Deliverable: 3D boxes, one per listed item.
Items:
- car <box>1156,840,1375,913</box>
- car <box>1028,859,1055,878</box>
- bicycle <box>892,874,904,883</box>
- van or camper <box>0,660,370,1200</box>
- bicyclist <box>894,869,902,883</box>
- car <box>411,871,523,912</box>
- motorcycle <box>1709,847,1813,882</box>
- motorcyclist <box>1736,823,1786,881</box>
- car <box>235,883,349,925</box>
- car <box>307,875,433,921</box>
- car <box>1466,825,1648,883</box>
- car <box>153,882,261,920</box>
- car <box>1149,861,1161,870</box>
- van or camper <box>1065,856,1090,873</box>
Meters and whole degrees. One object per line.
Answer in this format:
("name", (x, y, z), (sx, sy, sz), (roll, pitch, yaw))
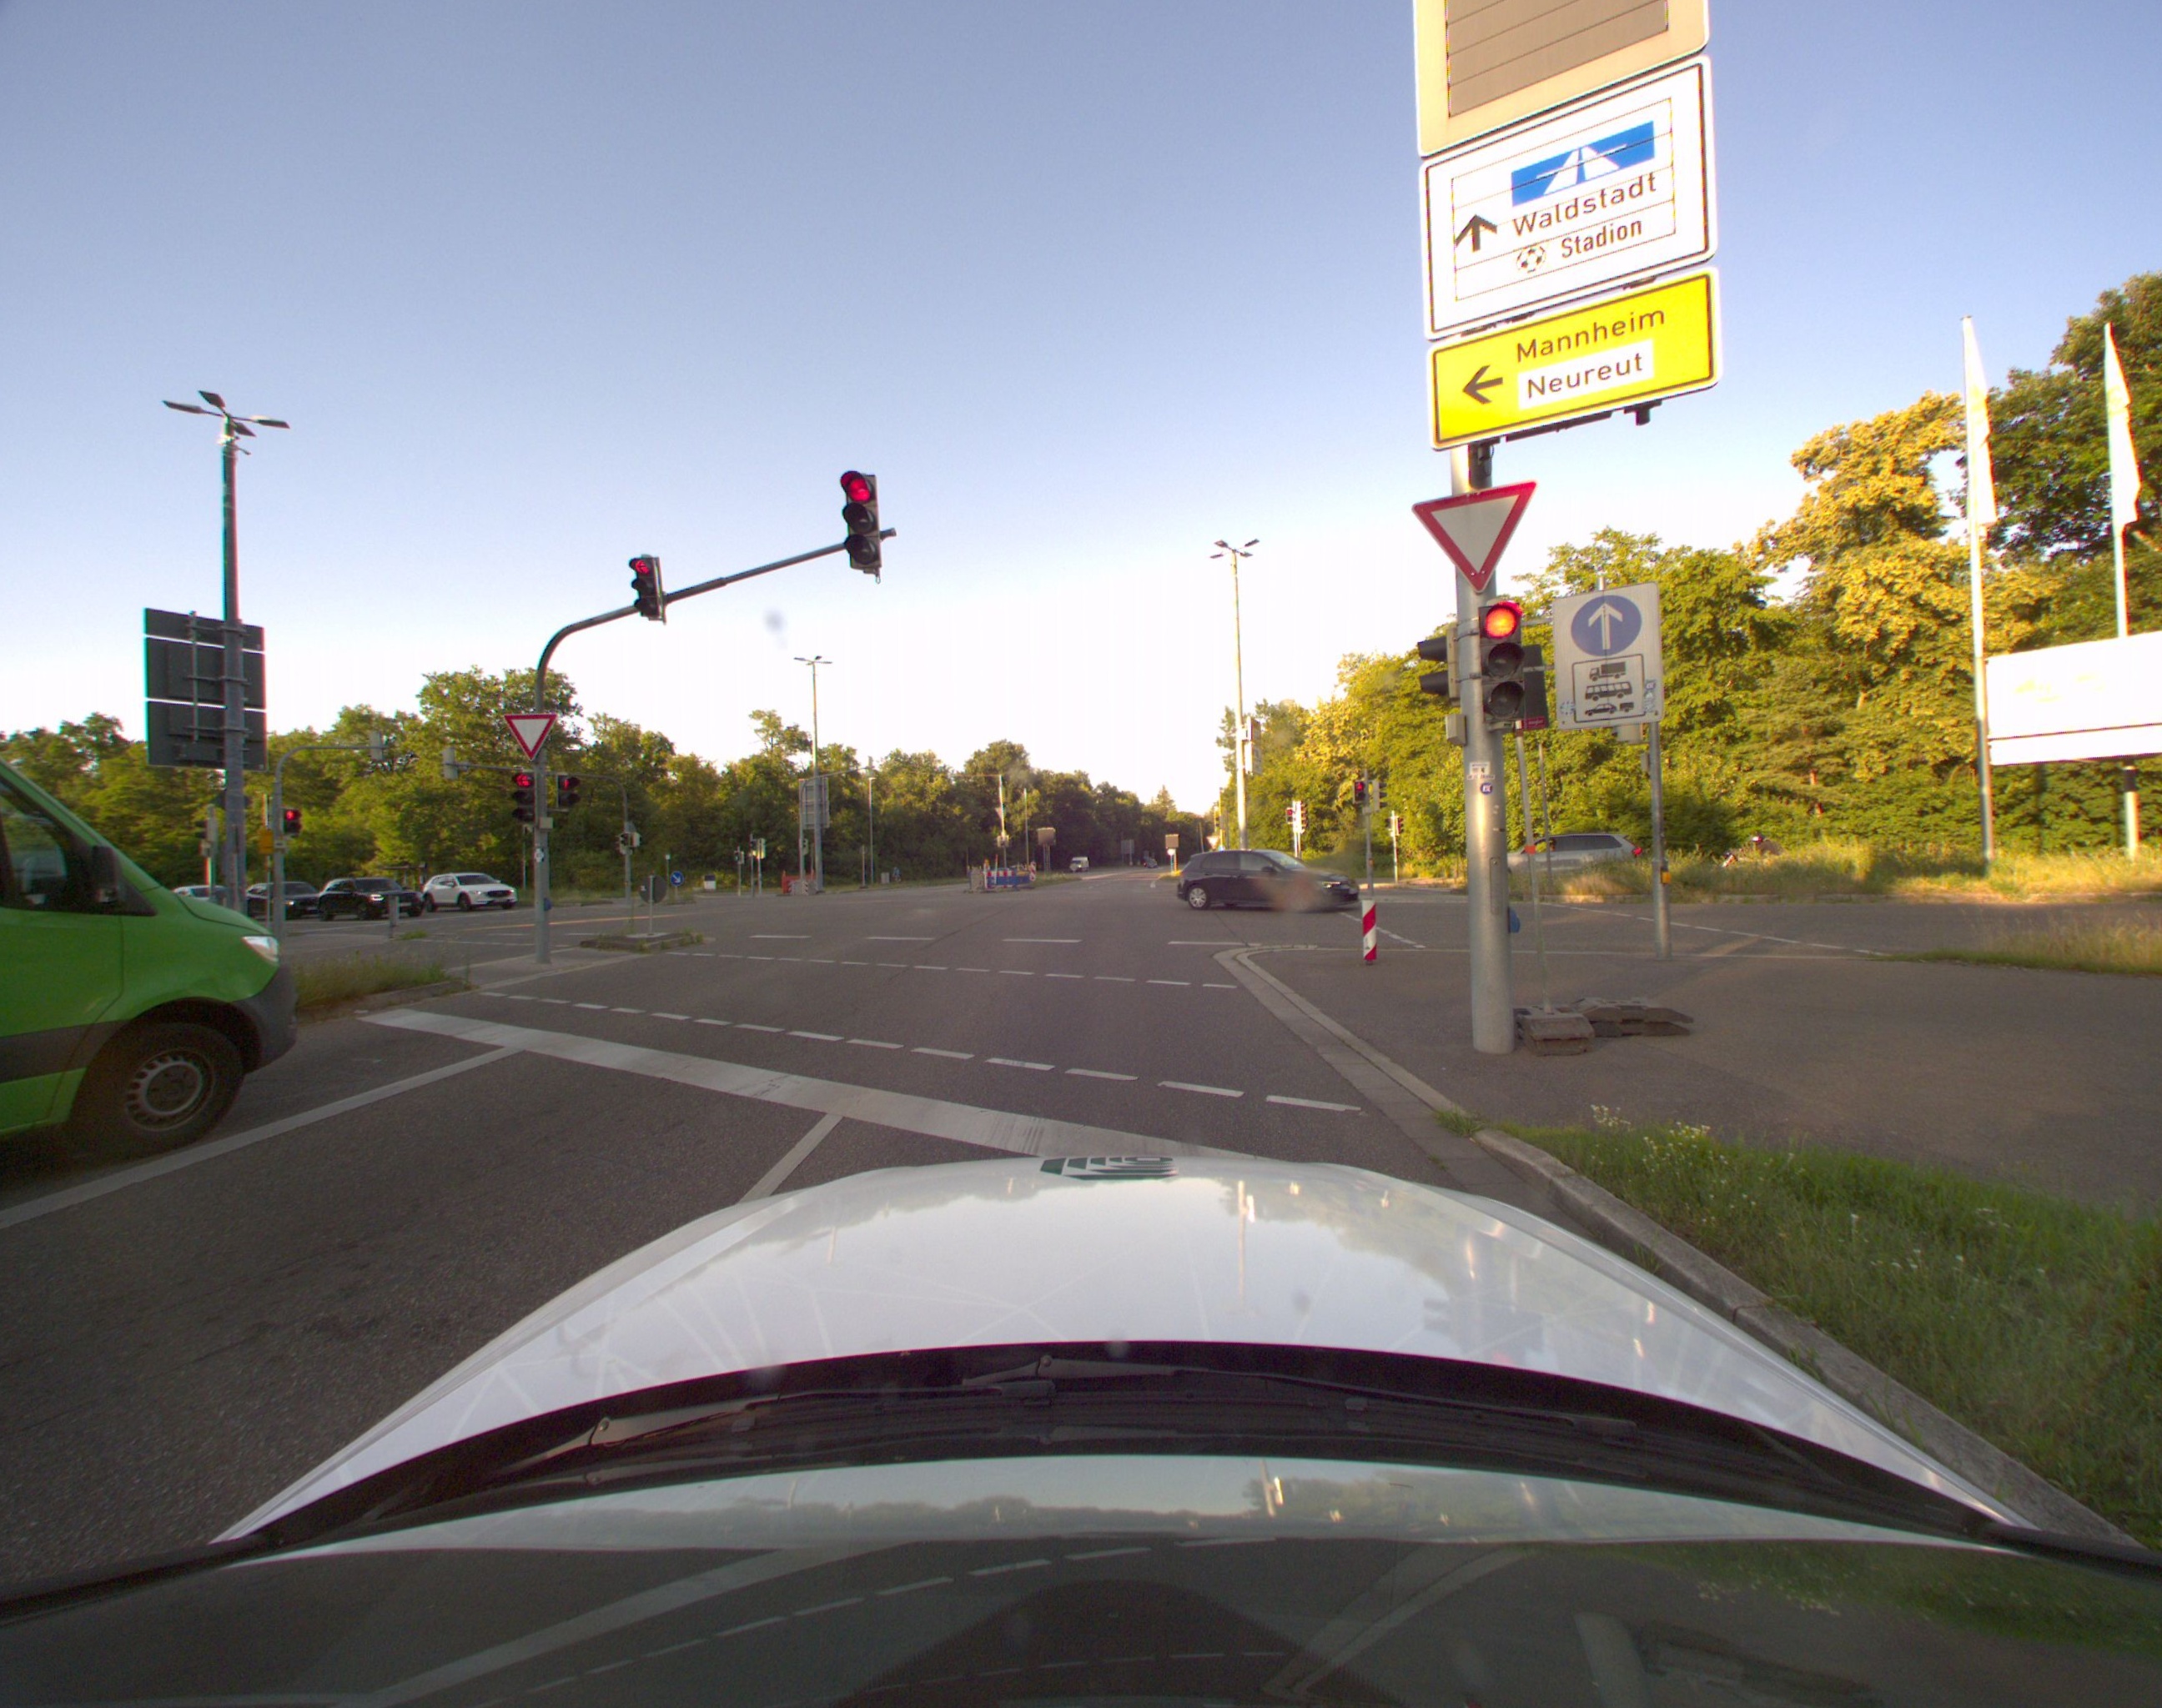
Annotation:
("car", (4.282, 0.522, 19.304), (4.618, 1.530, 2.013), (-2, 0, 40))
("car", (-4.553, 1.657, 94.531), (1.980, 2.013, 4.014), (-2, 0, 12))
("bicycle", (-17.710, 2.399, 78.888), (1.112, 0.825, 0.408), (-2, -1, -39))
("van or camper", (-5.860, 0.361, 2.554), (1.987, 2.421, 5.896), (-2, 0, 1))
("bicyclist", (-17.719, 2.115, 78.899), (0.522, 1.387, 0.402), (-1, -1, -40))
("car", (-26.761, 1.639, 35.492), (4.206, 1.640, 2.011), (-2, 0, 23))
("motorcycle", (19.203, 0.299, 23.048), (2.125, 0.910, 0.666), (-2, -1, 23))
("motorcyclist", (19.221, -0.044, 23.034), (0.878, 1.595, 0.658), (-2, -1, 23))
("car", (-33.926, 2.152, 35.027), (4.205, 1.640, 2.011), (-2, 0, 23))
("car", (-27.555, 1.697, 31.552), (4.206, 1.640, 2.011), (-2, 0, 23))
("car", (15.029, 0.024, 26.071), (4.773, 1.598, 2.011), (-2, 0, 23))
("car", (-41.258, 2.209, 38.468), (4.207, 1.640, 2.011), (-2, 0, 21))
("car", (16.233, 2.552, 178.742), (1.979, 1.640, 4.016), (-3, 0, 14))
("van or camper", (-0.533, 1.810, 141.866), (2.867, 2.652, 7.143), (-2, 0, 11))
